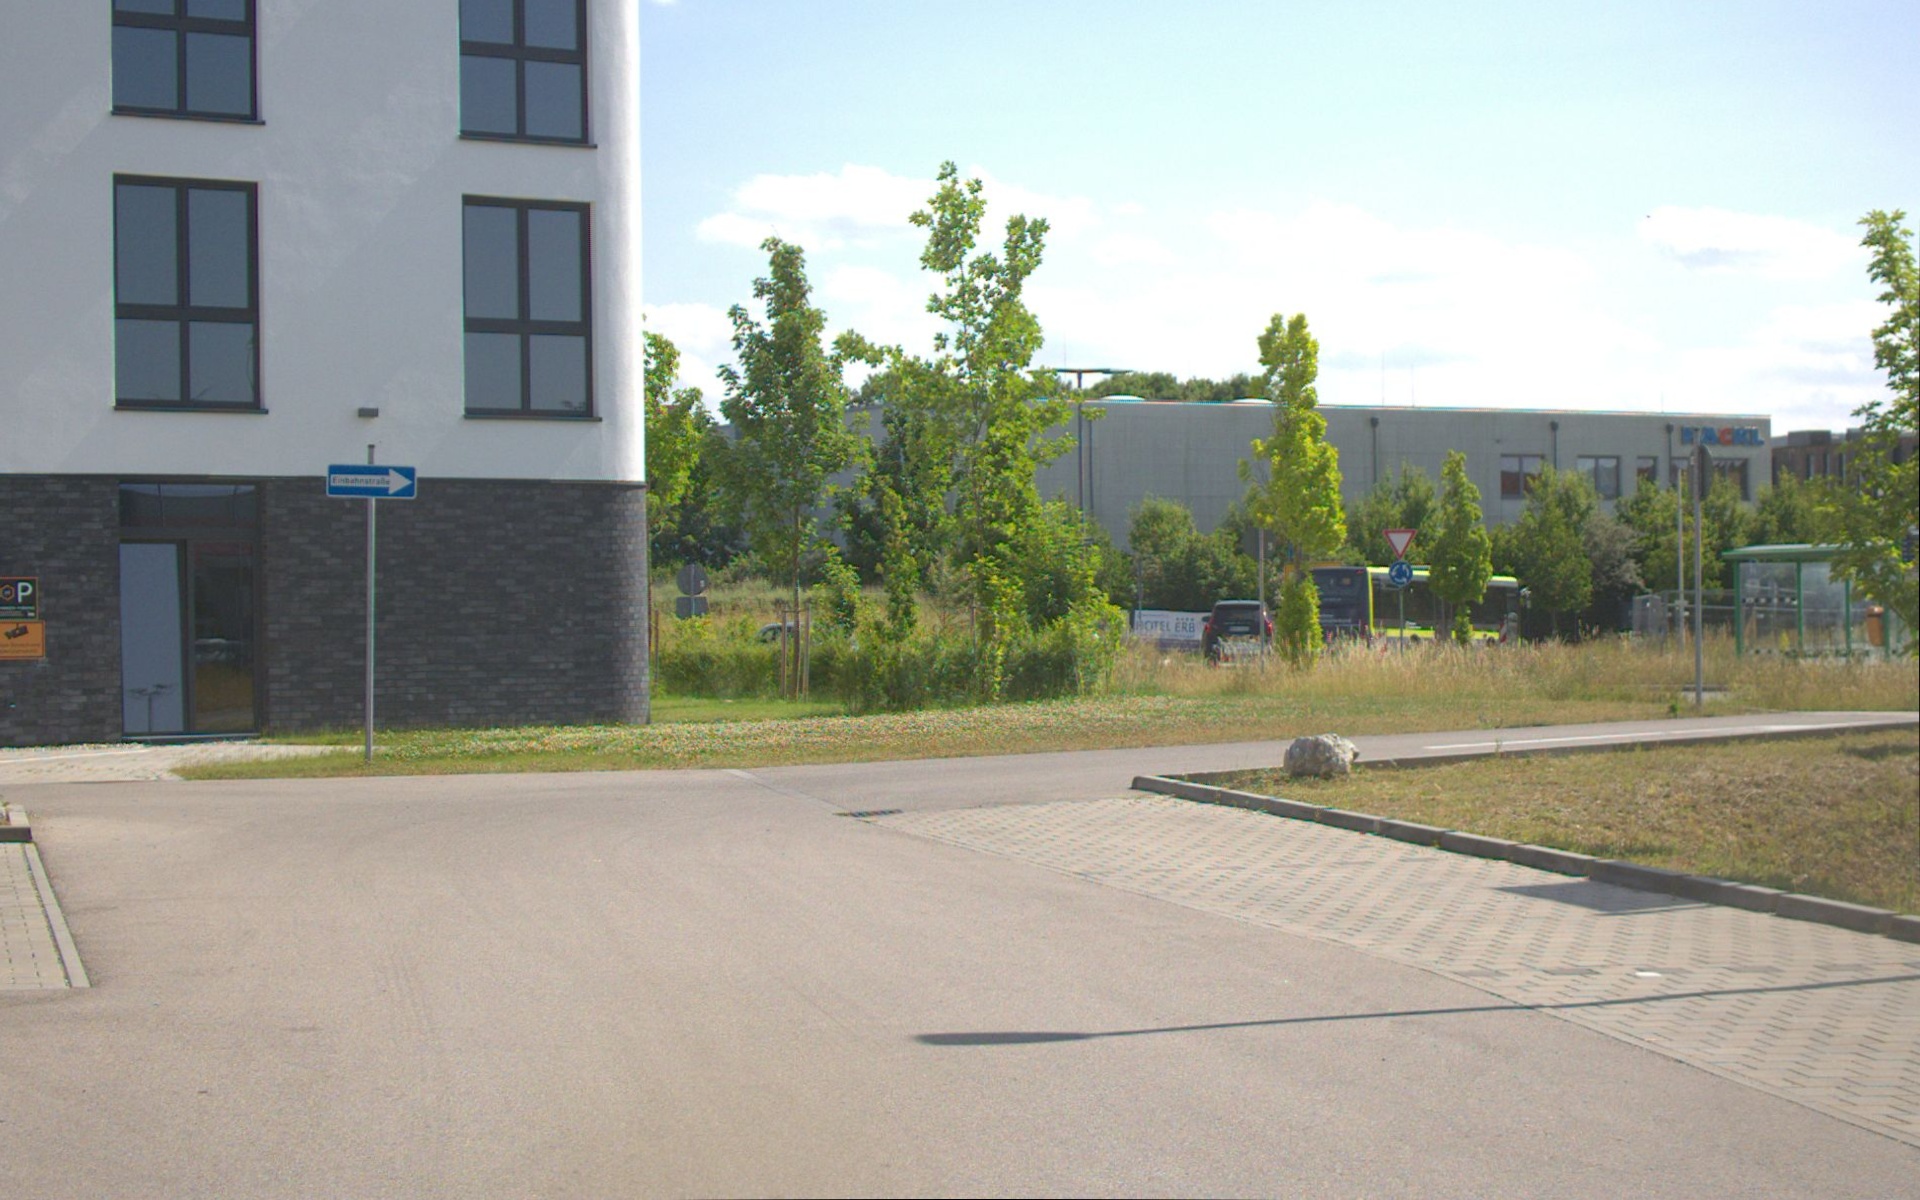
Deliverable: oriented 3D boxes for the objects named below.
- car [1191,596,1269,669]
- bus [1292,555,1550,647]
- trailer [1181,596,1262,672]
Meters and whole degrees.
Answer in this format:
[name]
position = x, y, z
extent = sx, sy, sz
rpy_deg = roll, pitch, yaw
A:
[car]
position = 7.066, 0.818, 89.655
extent = 1.823, 1.853, 3.999
rpy_deg = 0, 0, 7
[bus]
position = 14.509, -0.031, 107.051
extent = 2.577, 2.726, 11.544
rpy_deg = 0, 0, 37
[trailer]
position = 6.538, 0.823, 85.685
extent = 1.823, 1.853, 3.999
rpy_deg = 0, 0, 7
